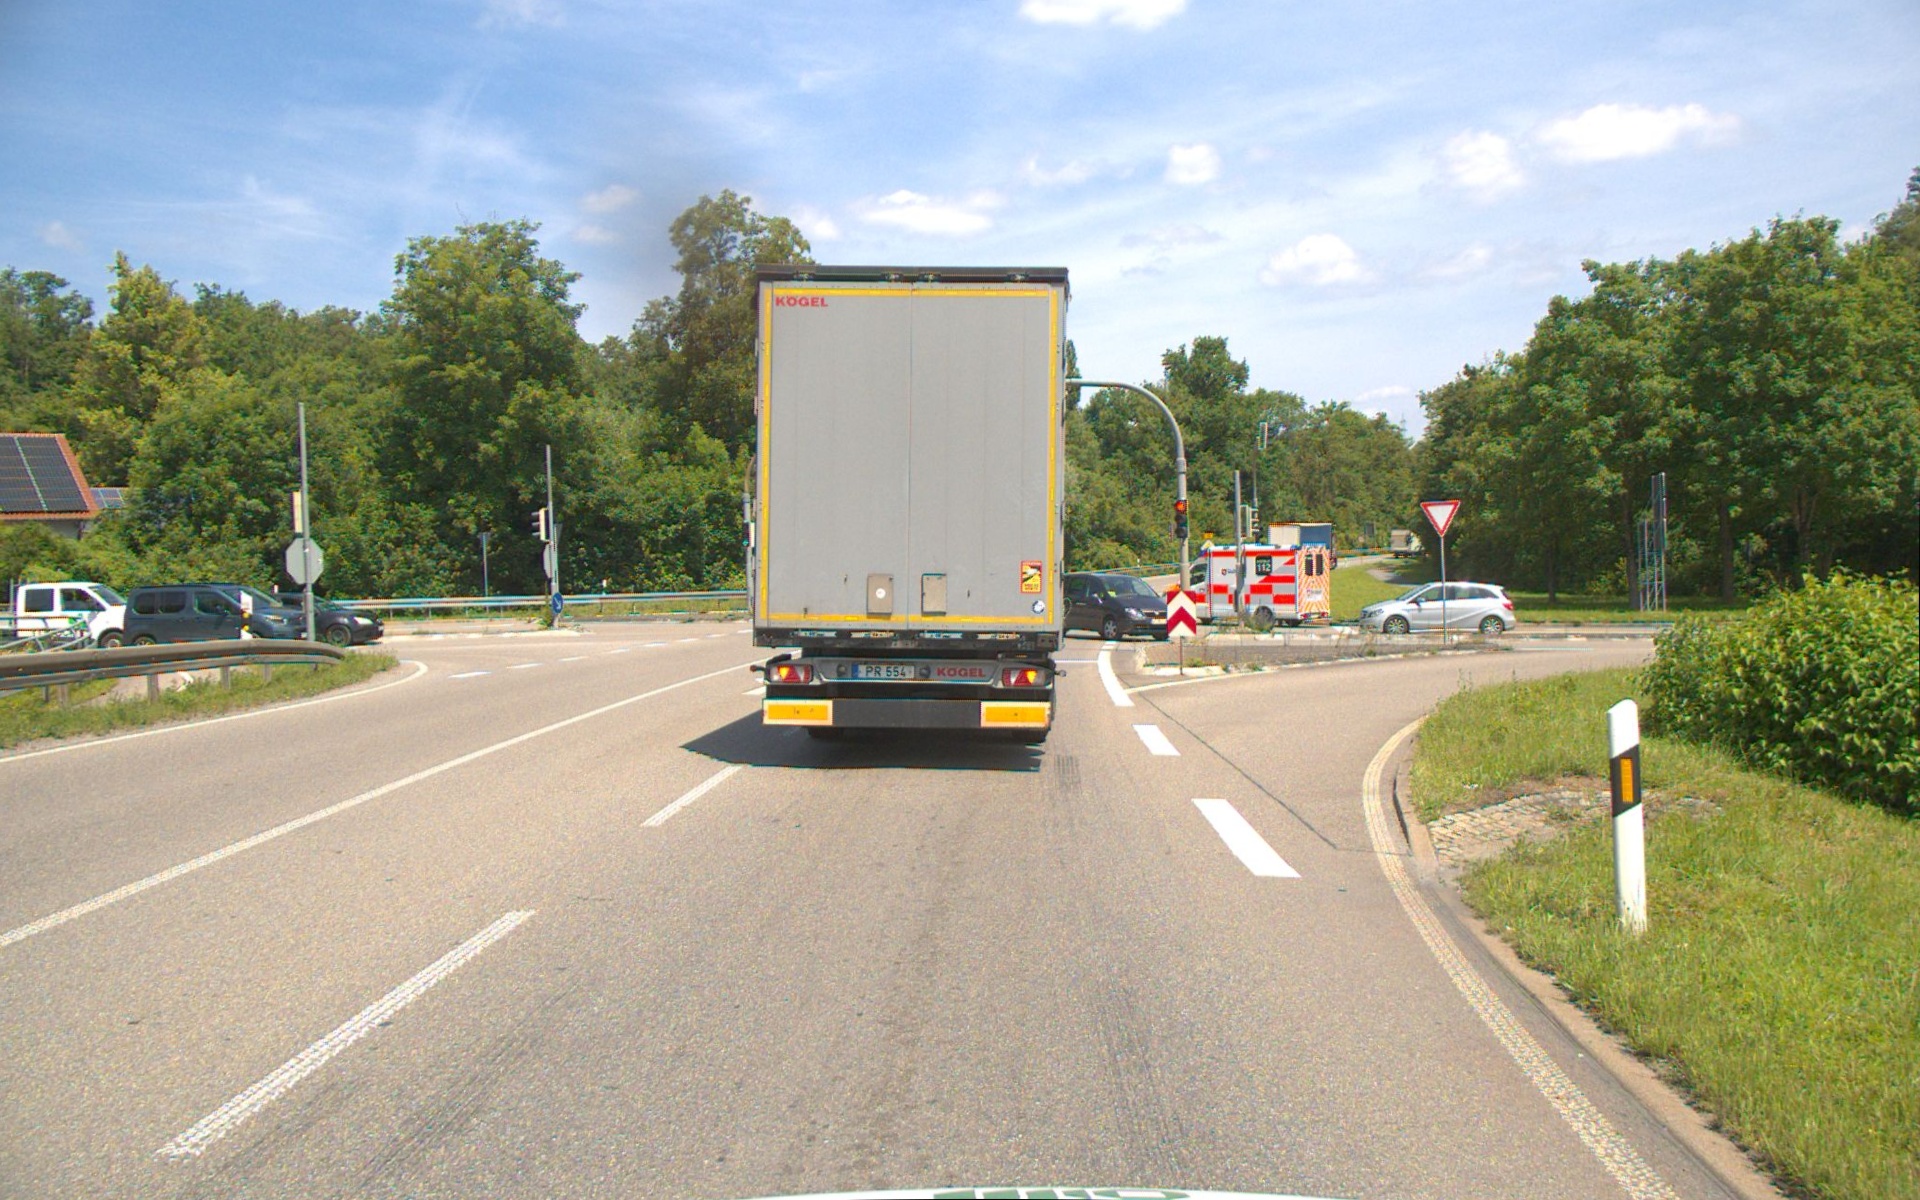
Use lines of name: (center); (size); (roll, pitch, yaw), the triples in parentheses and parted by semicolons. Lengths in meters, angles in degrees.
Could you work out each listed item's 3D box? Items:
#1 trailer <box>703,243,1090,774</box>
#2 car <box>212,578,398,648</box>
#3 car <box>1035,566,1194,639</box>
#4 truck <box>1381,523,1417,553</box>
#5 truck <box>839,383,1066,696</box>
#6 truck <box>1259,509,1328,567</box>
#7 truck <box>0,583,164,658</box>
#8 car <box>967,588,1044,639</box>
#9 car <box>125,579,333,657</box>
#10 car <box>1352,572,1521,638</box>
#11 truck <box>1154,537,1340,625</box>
trailer: (-0.222, -0.787, 19.111); (2.988, 4.104, 12.563); (0, 1, 3)
car: (-17.290, 0.334, 43.741); (4.143, 1.801, 2.002); (0, 0, 10)
car: (4.108, 0.095, 44.840); (1.970, 1.816, 4.898); (2, -2, -27)
truck: (46.652, -6.548, 175.681); (2.797, 2.999, 7.104); (1, 1, 22)
truck: (0.048, -0.860, 25.089); (2.975, 4.104, 6.632); (0, 1, 2)
truck: (27.207, -4.932, 134.498); (3.115, 4.099, 11.740); (1, -1, 23)
truck: (-23.460, 0.519, 42.716); (4.790, 1.823, 2.037); (1, -1, -12)
car: (1.414, 0.459, 52.663); (1.955, 1.517, 4.253); (1, -1, -5)
car: (-17.470, 0.420, 39.608); (4.143, 1.801, 2.002); (0, 0, 10)
car: (13.560, 0.163, 47.307); (4.334, 1.748, 2.001); (1, -1, 5)
truck: (9.723, -0.594, 56.479); (2.483, 2.775, 5.930); (3, -2, -45)
